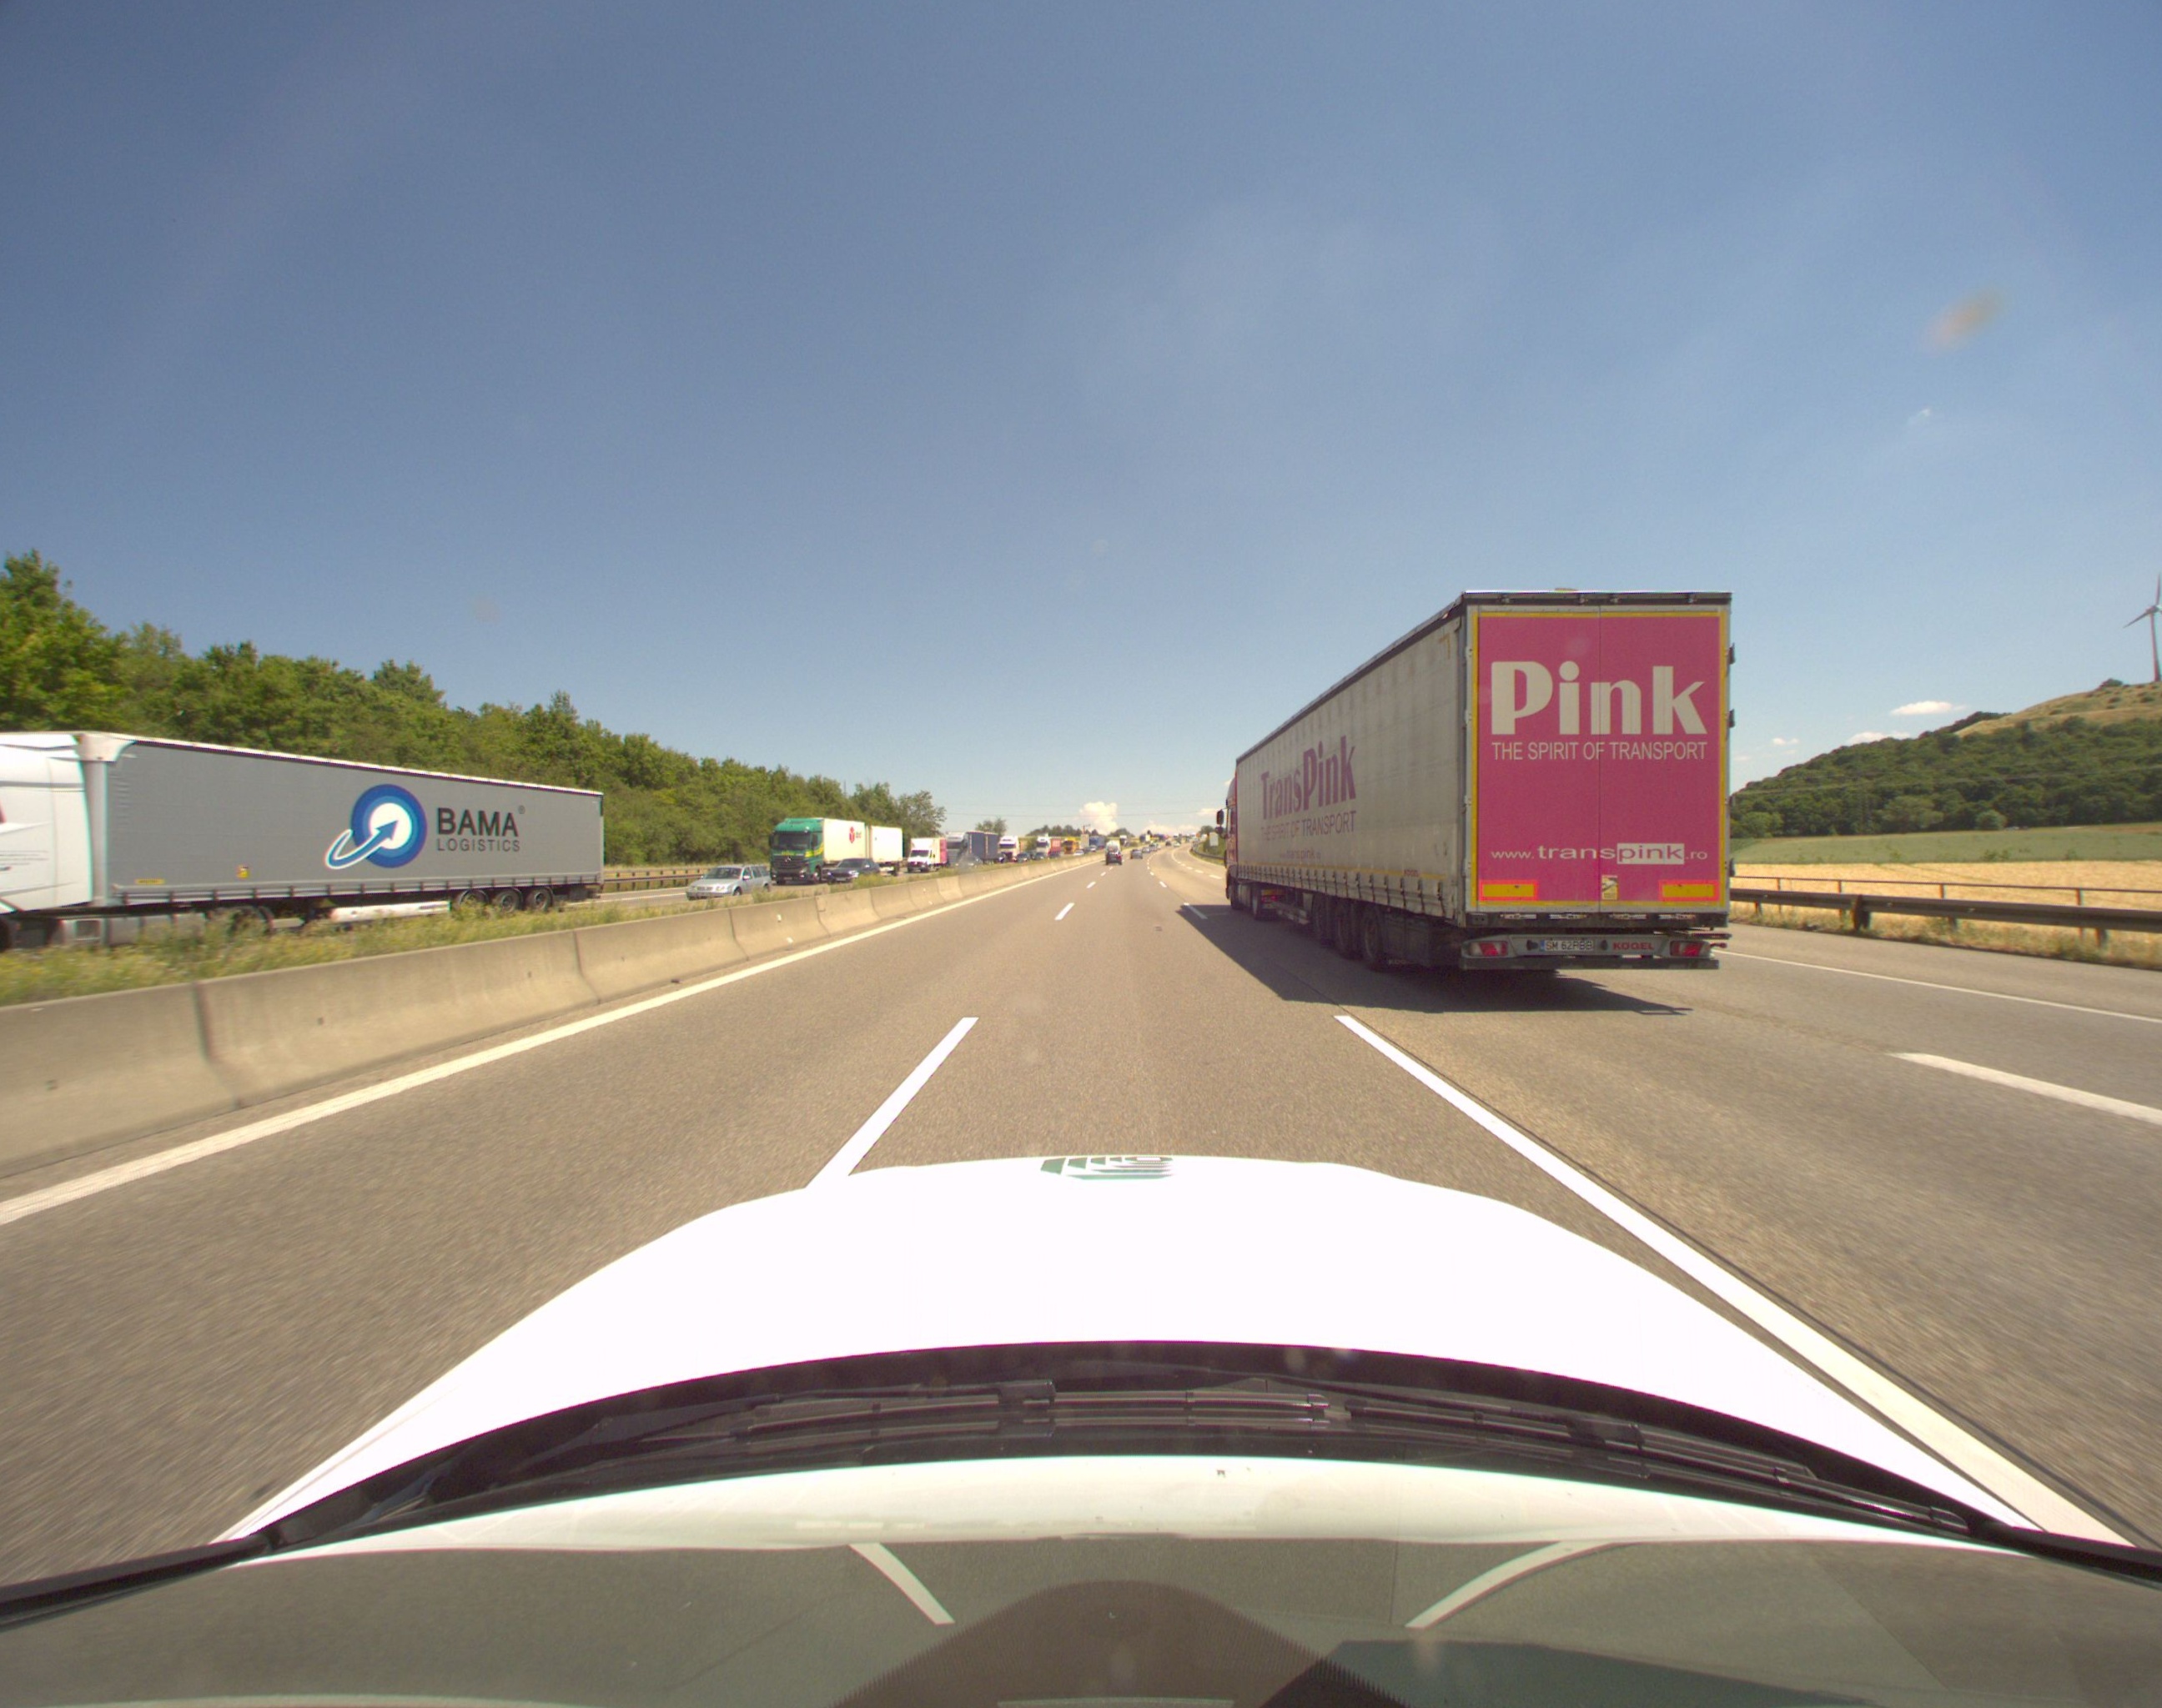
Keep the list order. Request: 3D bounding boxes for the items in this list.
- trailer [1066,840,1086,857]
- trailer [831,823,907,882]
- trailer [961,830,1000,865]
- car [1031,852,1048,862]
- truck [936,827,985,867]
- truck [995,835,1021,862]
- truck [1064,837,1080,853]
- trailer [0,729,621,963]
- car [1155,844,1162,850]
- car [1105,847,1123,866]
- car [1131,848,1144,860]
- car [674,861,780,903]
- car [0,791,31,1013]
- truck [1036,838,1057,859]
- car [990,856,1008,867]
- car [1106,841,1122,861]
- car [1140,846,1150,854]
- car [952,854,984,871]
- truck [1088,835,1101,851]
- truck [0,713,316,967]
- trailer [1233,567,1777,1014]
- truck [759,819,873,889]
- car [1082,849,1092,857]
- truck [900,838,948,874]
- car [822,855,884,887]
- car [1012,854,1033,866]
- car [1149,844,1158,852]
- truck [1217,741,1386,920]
[{"bbox_3d":[-1.162,-1.375,206.073,2.936,4.100,14.416,0,1,8],"label":"trailer"},{"bbox_3d":[-15.916,-0.126,61.840,2.907,4.071,8.240,-2,0,4],"label":"trailer"},{"bbox_3d":[-12.543,-0.821,102.260,2.971,4.192,8.608,-1,0,5],"label":"trailer"},{"bbox_3d":[-6.377,0.511,126.776,1.984,1.455,5.176,-1,0,4],"label":"car"},{"bbox_3d":[-13.504,-0.767,92.467,2.987,4.234,10.749,-1,0,5],"label":"truck"},{"bbox_3d":[-10.903,-0.828,122.471,2.887,3.876,6.187,0,1,5],"label":"truck"},{"bbox_3d":[-2.243,-2.252,198.910,2.735,3.837,7.115,0,1,8],"label":"truck"},{"bbox_3d":[-18.136,-0.126,21.619,2.890,4.086,14.457,-1,0,3],"label":"trailer"},{"bbox_3d":[22.095,-2.028,231.705,1.984,1.551,4.007,0,2,6],"label":"car"},{"bbox_3d":[3.695,0.274,90.470,1.840,1.861,4.209,-1,2,3],"label":"car"},{"bbox_3d":[8.728,-0.056,126.100,1.984,1.750,4.005,0,-2,5],"label":"car"},{"bbox_3d":[-13.365,1.050,31.092,1.745,1.460,4.860,0,-2,2],"label":"car"},{"bbox_3d":[-14.722,0.523,7.179,2.131,2.786,6.626,0,-2,2],"label":"car"},{"bbox_3d":[-6.661,-1.079,158.566,3.020,4.081,6.327,0,1,6],"label":"truck"},{"bbox_3d":[-11.301,0.954,112.129,1.649,1.431,4.654,-1,0,4],"label":"car"},{"bbox_3d":[4.537,-0.377,112.217,2.171,2.625,4.675,0,-2,3],"label":"car"},{"bbox_3d":[14.189,-0.884,180.749,1.983,1.585,4.007,-2,0,6],"label":"car"},{"bbox_3d":[-10.734,0.752,77.722,1.985,1.545,5.499,-1,0,3],"label":"car"},{"bbox_3d":[4.151,-3.334,243.032,2.768,4.335,10.672,0,2,7],"label":"truck"},{"bbox_3d":[-18.513,-0.194,14.755,2.842,4.036,6.608,-1,0,2],"label":"truck"},{"bbox_3d":[5.201,-0.572,14.458,2.907,4.117,13.865,0,0,2],"label":"trailer"},{"bbox_3d":[-16.612,-0.045,52.259,2.830,3.898,11.258,-2,0,4],"label":"truck"},{"bbox_3d":[1.284,-0.226,169.548,1.829,1.583,4.561,0,1,5],"label":"car"},{"bbox_3d":[-14.566,0.134,76.164,2.527,3.207,7.596,-1,0,4],"label":"truck"},{"bbox_3d":[-12.712,0.966,45.771,1.854,1.641,5.116,-1,-2,2],"label":"car"},{"bbox_3d":[-7.749,0.727,108.111,1.984,1.527,4.778,0,0,4],"label":"car"},{"bbox_3d":[18.031,-1.551,201.828,1.986,1.904,4.001,-1,-1,2],"label":"car"},{"bbox_3d":[5.492,-0.528,21.521,2.905,4.008,6.514,0,0,2],"label":"truck"}]
